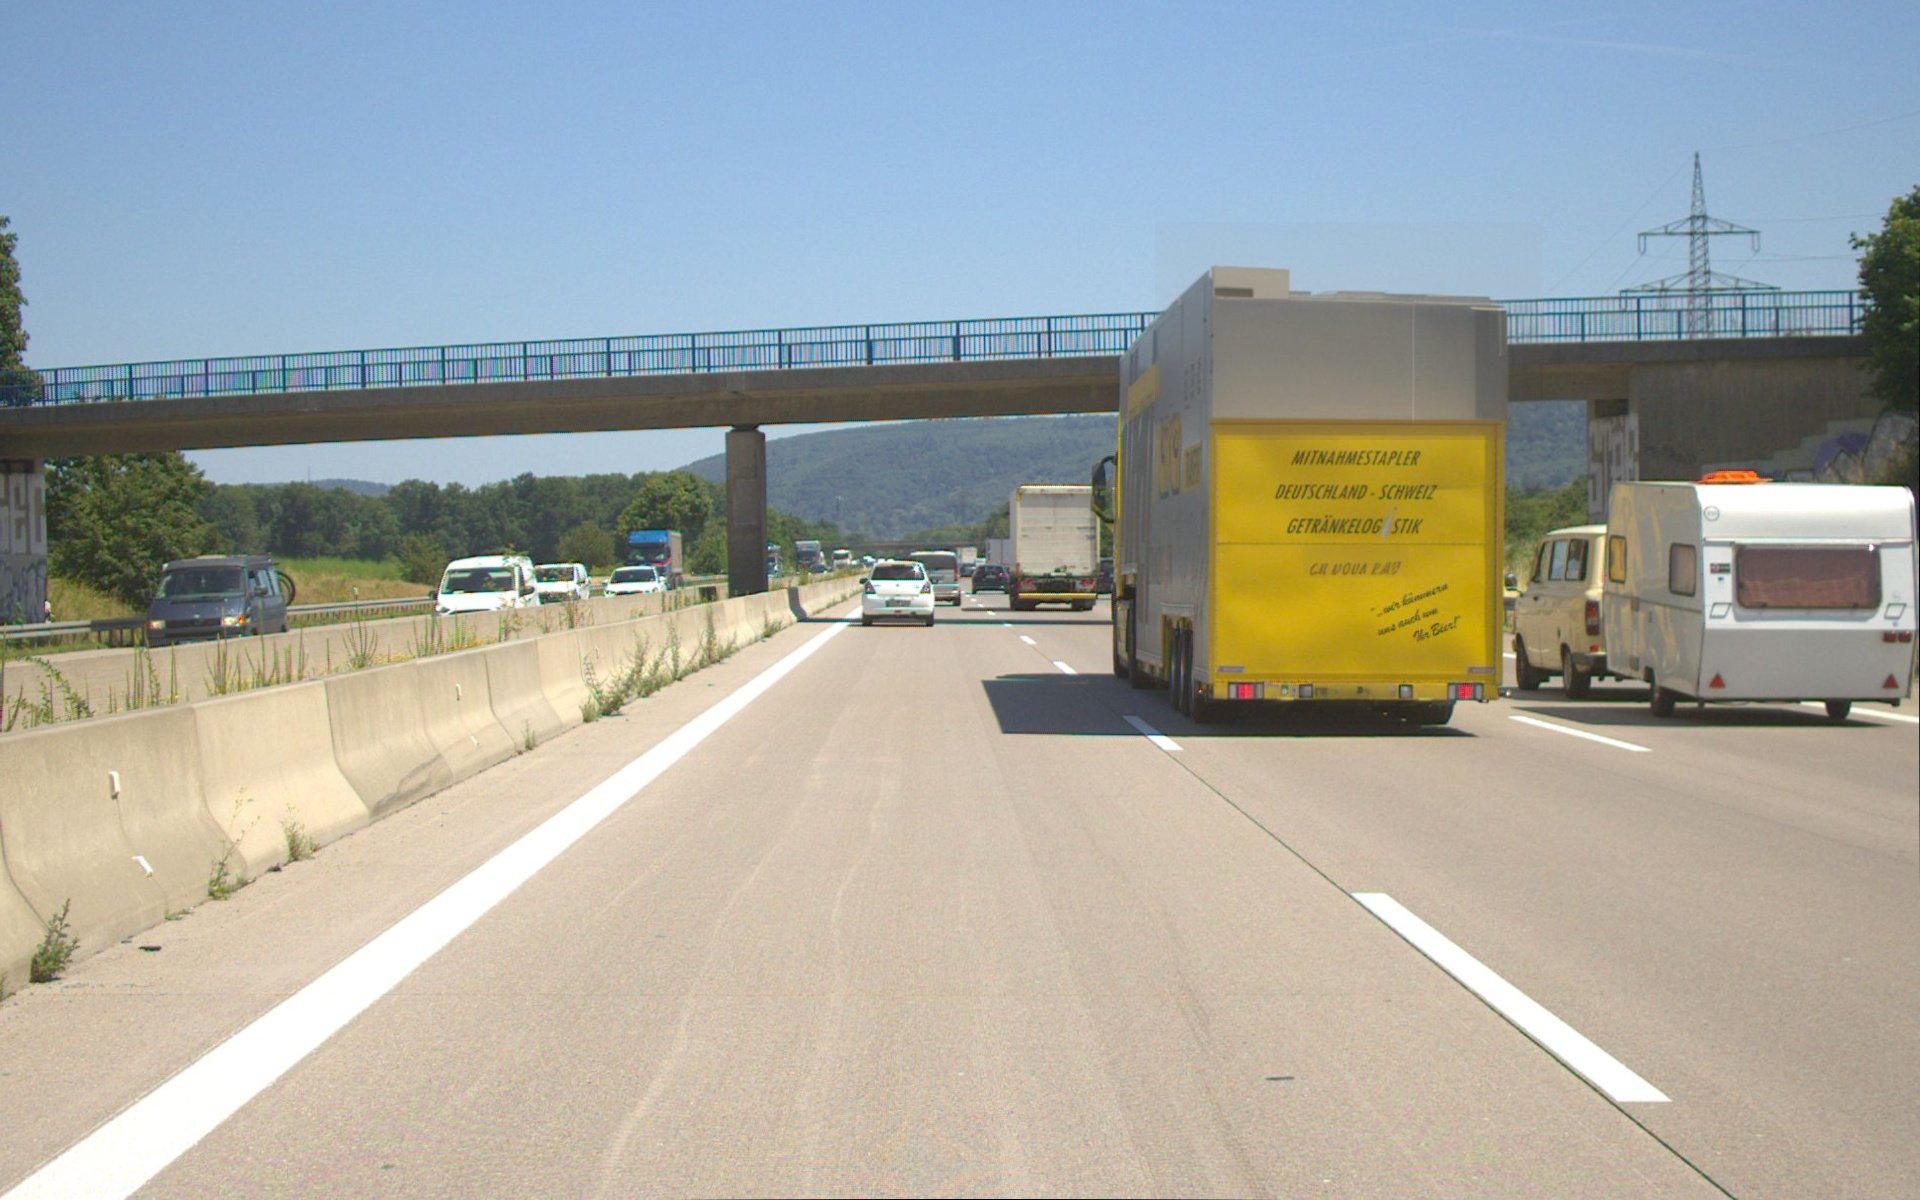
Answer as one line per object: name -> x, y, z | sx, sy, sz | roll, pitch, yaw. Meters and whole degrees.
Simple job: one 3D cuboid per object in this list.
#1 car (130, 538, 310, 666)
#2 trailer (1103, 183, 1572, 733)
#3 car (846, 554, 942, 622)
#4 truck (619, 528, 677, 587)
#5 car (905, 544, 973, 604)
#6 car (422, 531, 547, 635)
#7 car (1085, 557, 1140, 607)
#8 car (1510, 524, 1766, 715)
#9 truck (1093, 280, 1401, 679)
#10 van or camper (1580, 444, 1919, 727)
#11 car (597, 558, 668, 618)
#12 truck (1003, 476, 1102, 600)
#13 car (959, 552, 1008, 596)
car -> -13.346, -0.023, 62.370 | 1.993, 2.130, 5.882 | -2, 1, -1
trailer -> 3.429, -1.308, 35.430 | 3.216, 4.548, 13.457 | 1, 1, 0
car -> -1.528, -0.301, 81.039 | 2.107, 1.530, 4.122 | 1, 1, 1
truck -> -19.366, -2.686, 213.984 | 2.985, 3.548, 7.493 | 1, 1, -1
car -> -0.709, -0.921, 119.234 | 2.254, 2.007, 4.298 | 1, 1, 0
car -> -9.593, -0.373, 69.671 | 1.866, 1.973, 4.789 | -2, 1, -1
car -> 6.284, -0.748, 142.087 | 1.993, 2.007, 4.000 | 1, 1, -1
car -> 7.524, 0.172, 38.509 | 1.993, 2.007, 4.000 | 1, 1, -1
truck -> 3.412, -1.436, 42.429 | 3.216, 4.548, 5.836 | 1, 1, 0
van or camper -> 7.742, -0.179, 33.757 | 2.224, 2.522, 5.431 | 1, 1, -1
car -> -10.470, -0.403, 110.160 | 1.866, 1.833, 4.789 | -1, 1, -1
truck -> 2.857, -1.950, 107.910 | 2.820, 3.748, 6.284 | 1, 1, -1
car -> 1.128, -1.259, 164.413 | 2.222, 2.007, 4.000 | 1, 1, -1
